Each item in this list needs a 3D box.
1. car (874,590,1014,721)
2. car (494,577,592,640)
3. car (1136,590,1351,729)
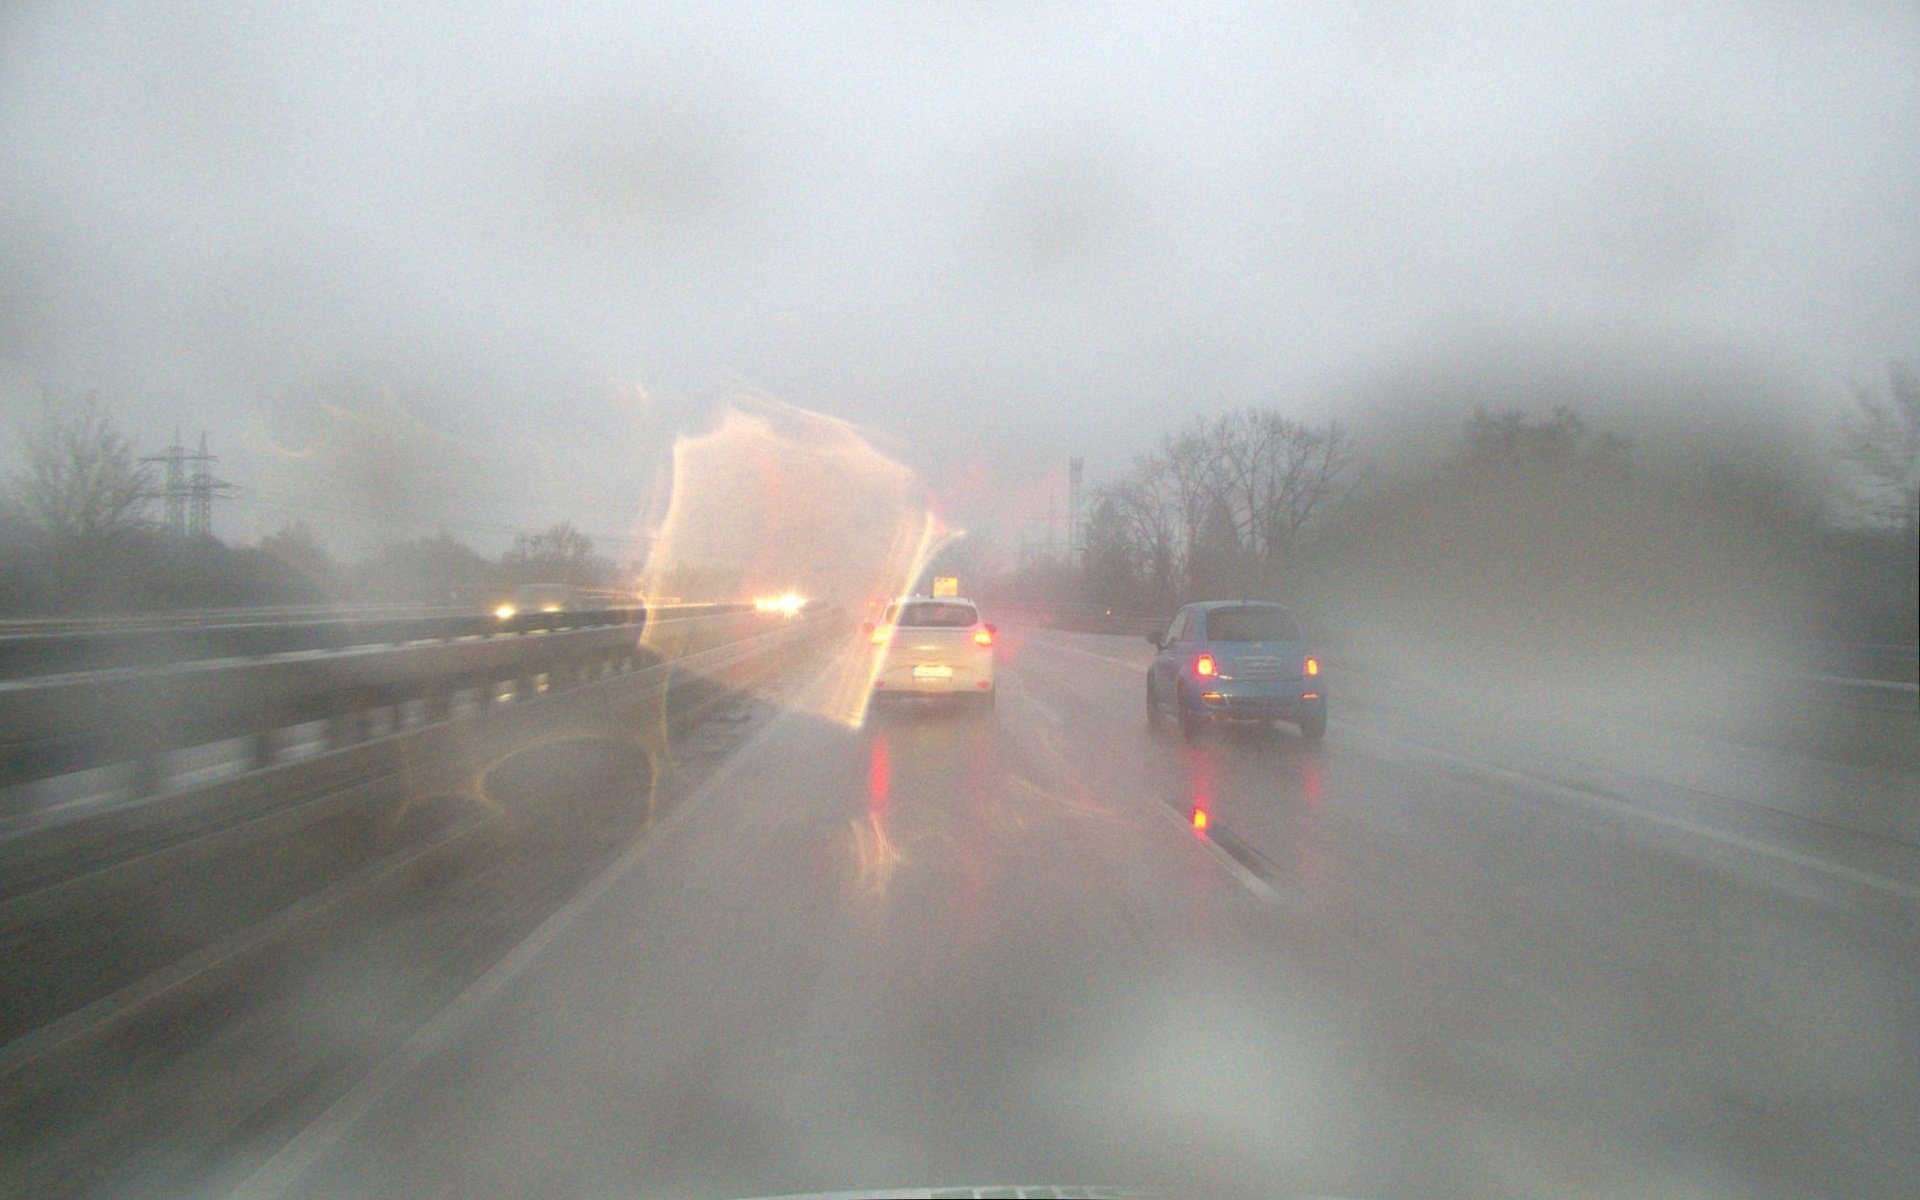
[{"bbox_3d":[-0.205,0.707,23.404,1.808,1.664,3.768,1,1,0],"label":"car"},{"bbox_3d":[-12.859,0.249,51.270,1.857,1.815,4.703,1,0,-1],"label":"car"},{"bbox_3d":[3.332,0.641,20.209,1.808,1.479,4.148,1,1,-1],"label":"car"}]
